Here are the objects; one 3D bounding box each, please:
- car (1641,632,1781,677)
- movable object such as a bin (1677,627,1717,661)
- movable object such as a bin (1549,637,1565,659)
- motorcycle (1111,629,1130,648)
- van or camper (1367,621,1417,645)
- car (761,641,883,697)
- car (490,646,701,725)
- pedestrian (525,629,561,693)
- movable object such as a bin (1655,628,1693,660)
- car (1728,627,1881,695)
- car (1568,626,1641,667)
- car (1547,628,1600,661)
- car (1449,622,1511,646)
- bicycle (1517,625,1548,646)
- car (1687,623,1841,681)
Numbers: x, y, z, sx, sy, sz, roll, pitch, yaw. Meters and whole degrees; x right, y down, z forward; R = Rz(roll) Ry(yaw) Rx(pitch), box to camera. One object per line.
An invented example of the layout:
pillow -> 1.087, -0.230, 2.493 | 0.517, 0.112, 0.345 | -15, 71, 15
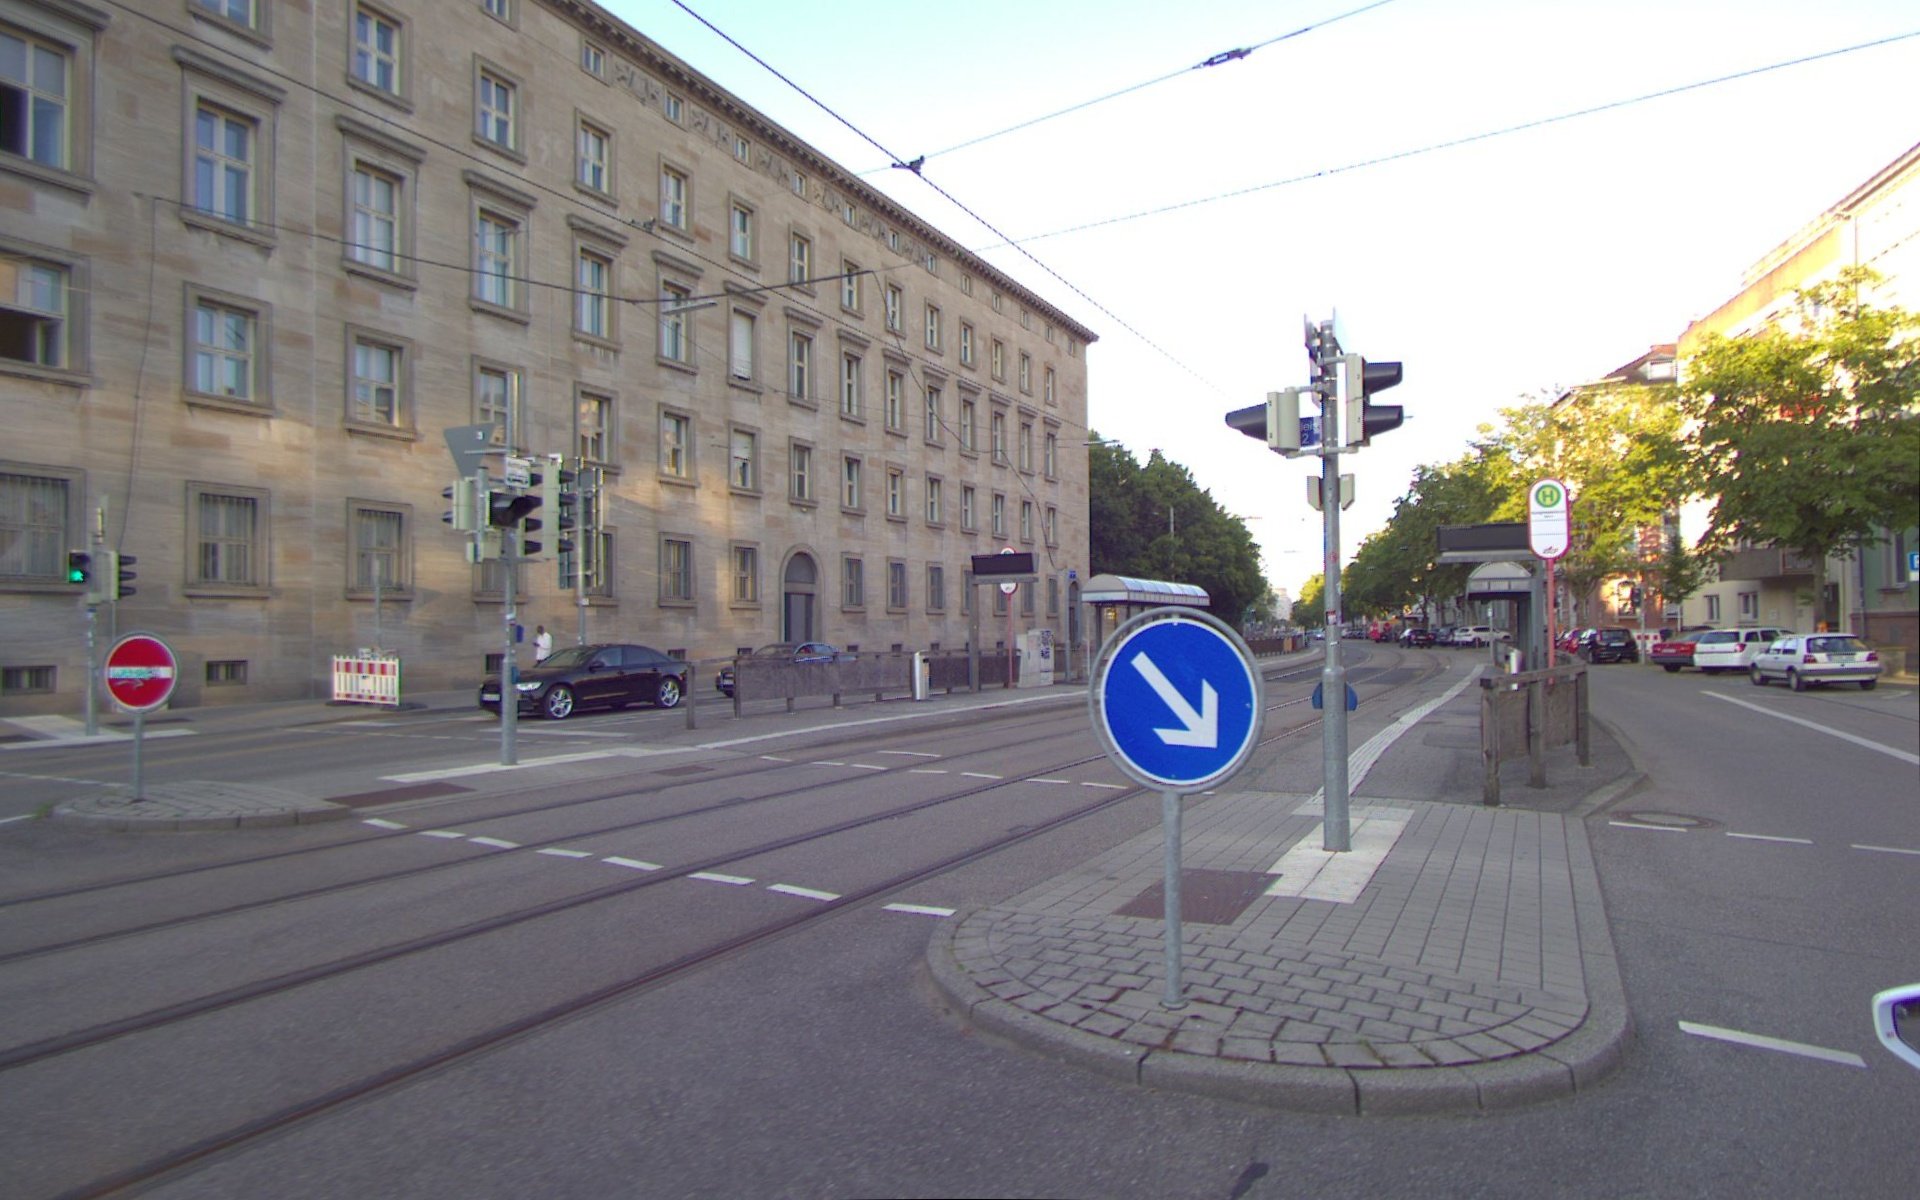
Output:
car -> 25.964, 1.852, 34.768 | 4.138, 1.473, 1.641 | 0, -2, -14
movable object such as a bin -> 33.902, 2.003, 46.229 | 1.121, 1.521, 1.271 | 0, -2, 16
movable object such as a bin -> 32.022, 2.561, 53.889 | 0.702, 1.169, 0.587 | -1, -1, 29
motorcycle -> 8.318, 1.998, 52.160 | 0.470, 0.940, 1.508 | -1, -2, 30
van or camper -> 52.433, 4.040, 121.875 | 5.461, 2.563, 2.080 | -2, -3, -18
car -> -3.938, 1.949, 29.206 | 1.619, 1.446, 3.698 | -1, -2, 30
car -> -7.696, 1.758, 21.624 | 1.619, 1.446, 4.225 | -1, -2, 30
pedestrian -> -11.406, 1.656, 27.464 | 0.686, 1.732, 0.644 | -1, -2, 33
movable object such as a bin -> 33.945, 2.075, 47.758 | 1.054, 1.521, 1.320 | 0, -2, 15
car -> 21.981, 1.552, 26.348 | 1.653, 1.573, 4.001 | -4, -3, 19
car -> 28.077, 2.005, 43.904 | 1.715, 1.653, 4.089 | -3, -3, 19
car -> 30.213, 2.174, 49.529 | 1.539, 1.556, 3.692 | -3, -3, 21
car -> 38.993, 2.548, 75.336 | 3.887, 1.648, 1.670 | -2, -1, -14
bicycle -> 36.414, 2.248, 63.886 | 1.888, 1.283, 0.599 | 0, -2, -18
car -> 25.617, 1.622, 32.023 | 4.139, 1.748, 1.717 | 0, -1, -14
